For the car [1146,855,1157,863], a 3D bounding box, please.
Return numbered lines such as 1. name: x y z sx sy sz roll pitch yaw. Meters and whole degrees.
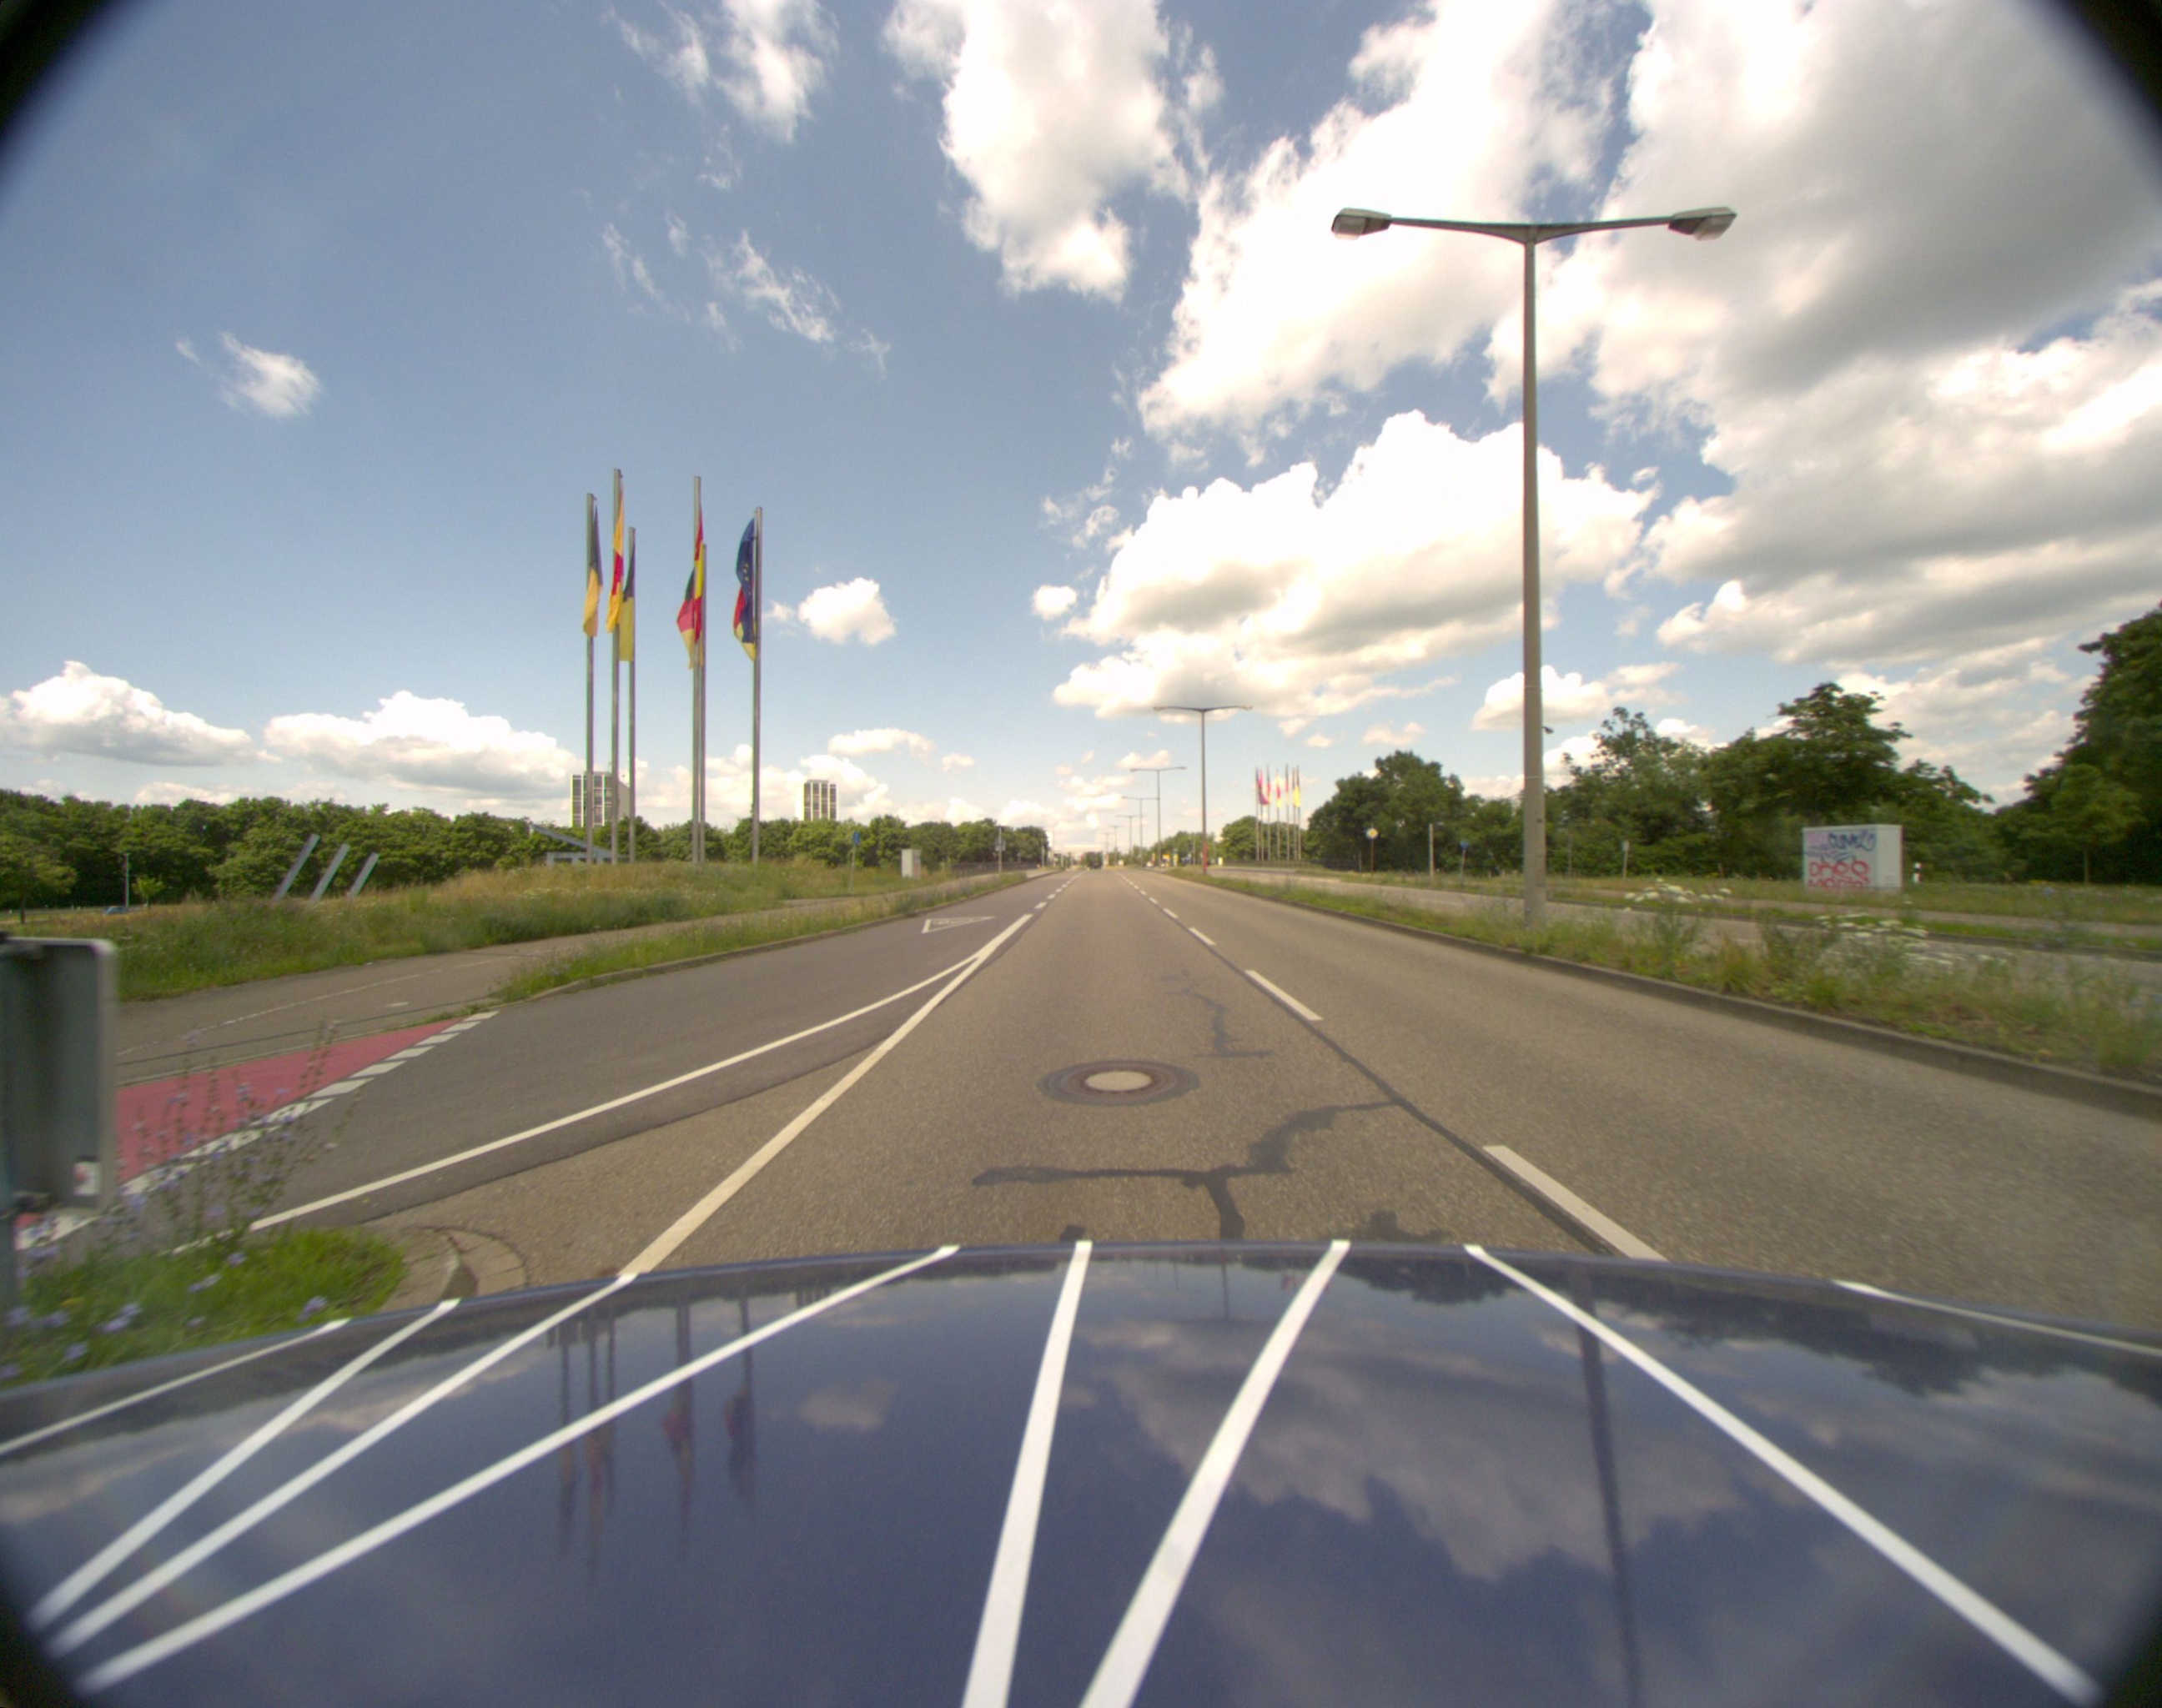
1. car: 16.905 1.162 182.669 2.094 1.616 4.549 5 -1 -2
